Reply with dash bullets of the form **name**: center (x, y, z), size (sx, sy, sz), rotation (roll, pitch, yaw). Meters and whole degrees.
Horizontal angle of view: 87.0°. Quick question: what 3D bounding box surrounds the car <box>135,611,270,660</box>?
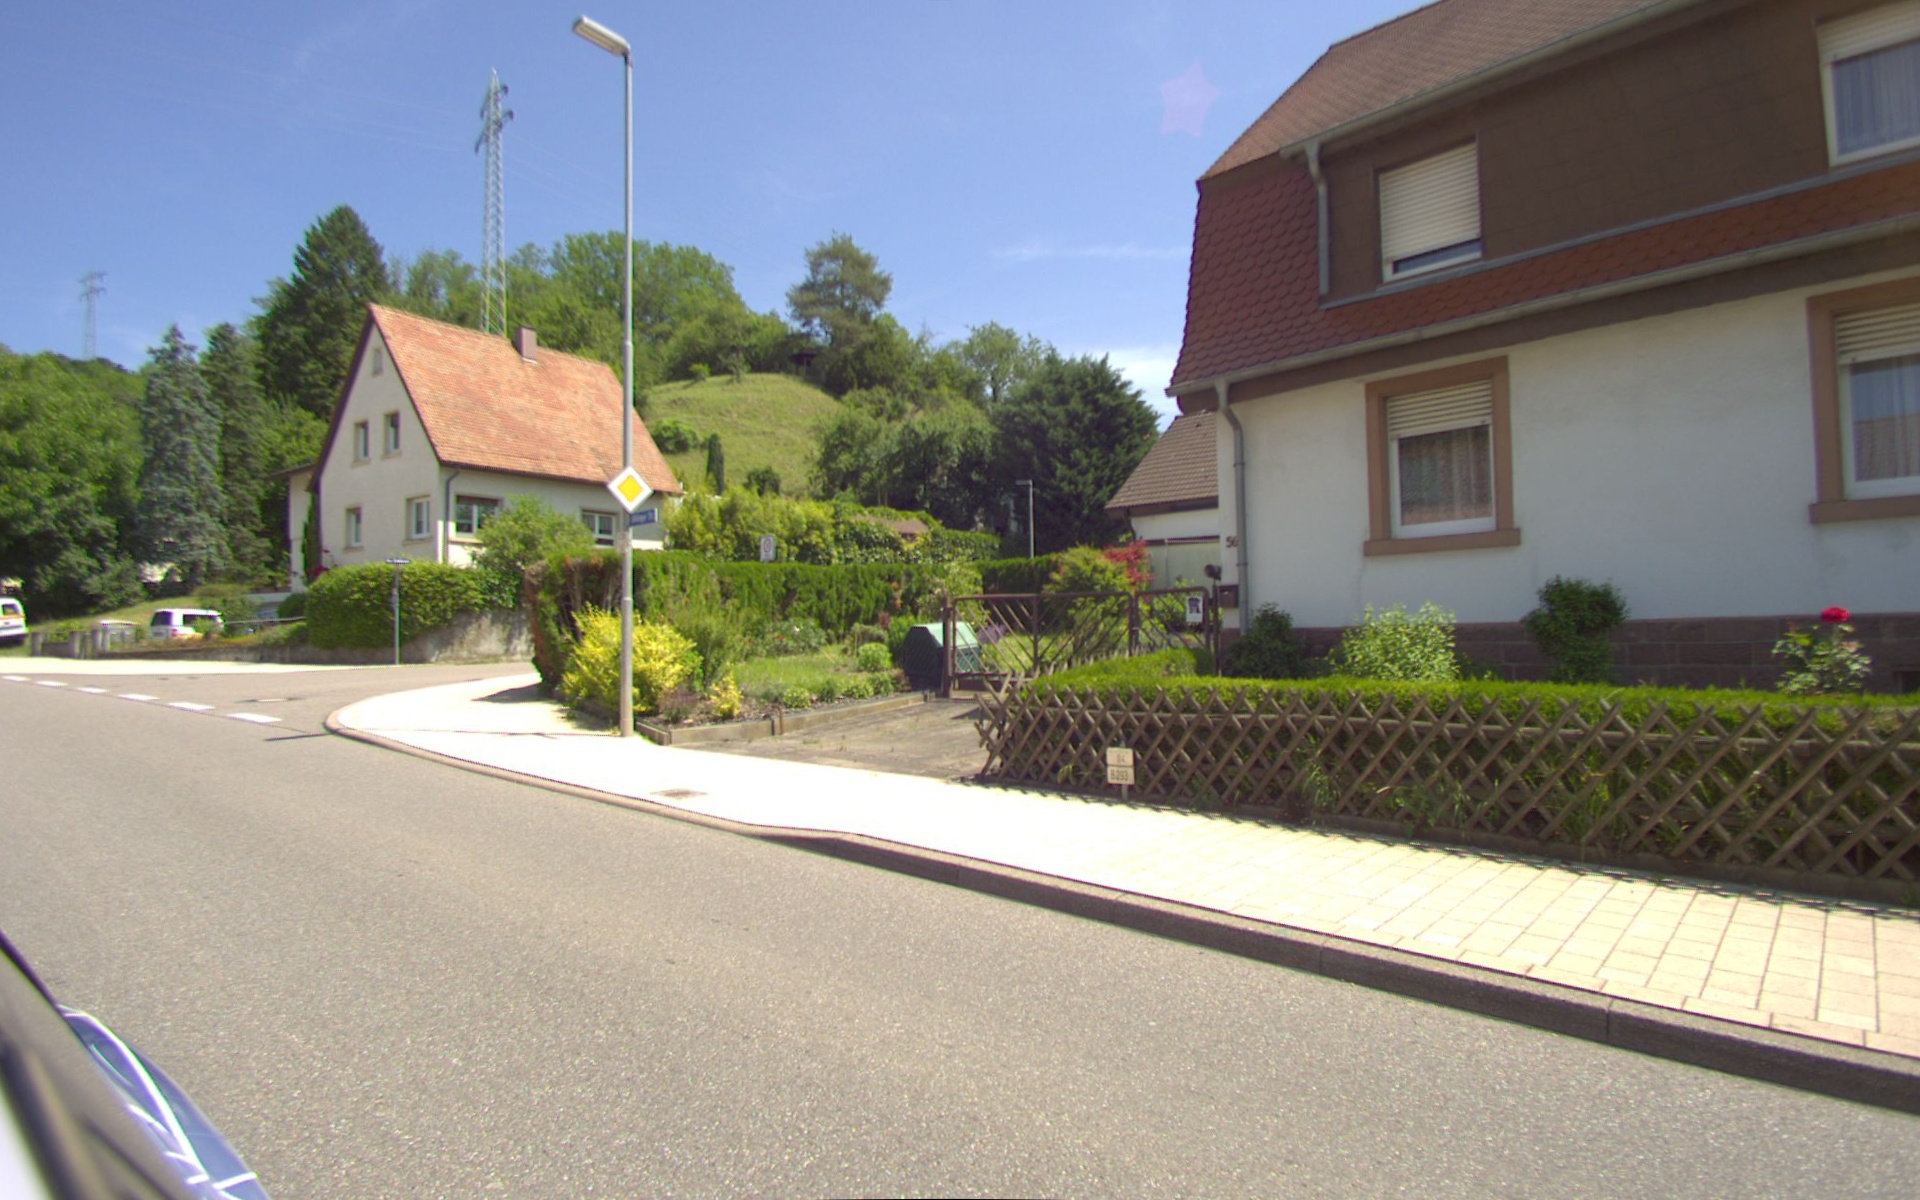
- **car**: center (-29.961, 1.374, 40.177), size (1.797, 1.803, 3.973), rotation (-1, -1, 20)

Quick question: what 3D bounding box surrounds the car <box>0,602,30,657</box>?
- **car**: center (-36.319, 1.091, 37.245), size (3.976, 1.963, 1.690), rotation (-1, -1, 25)
